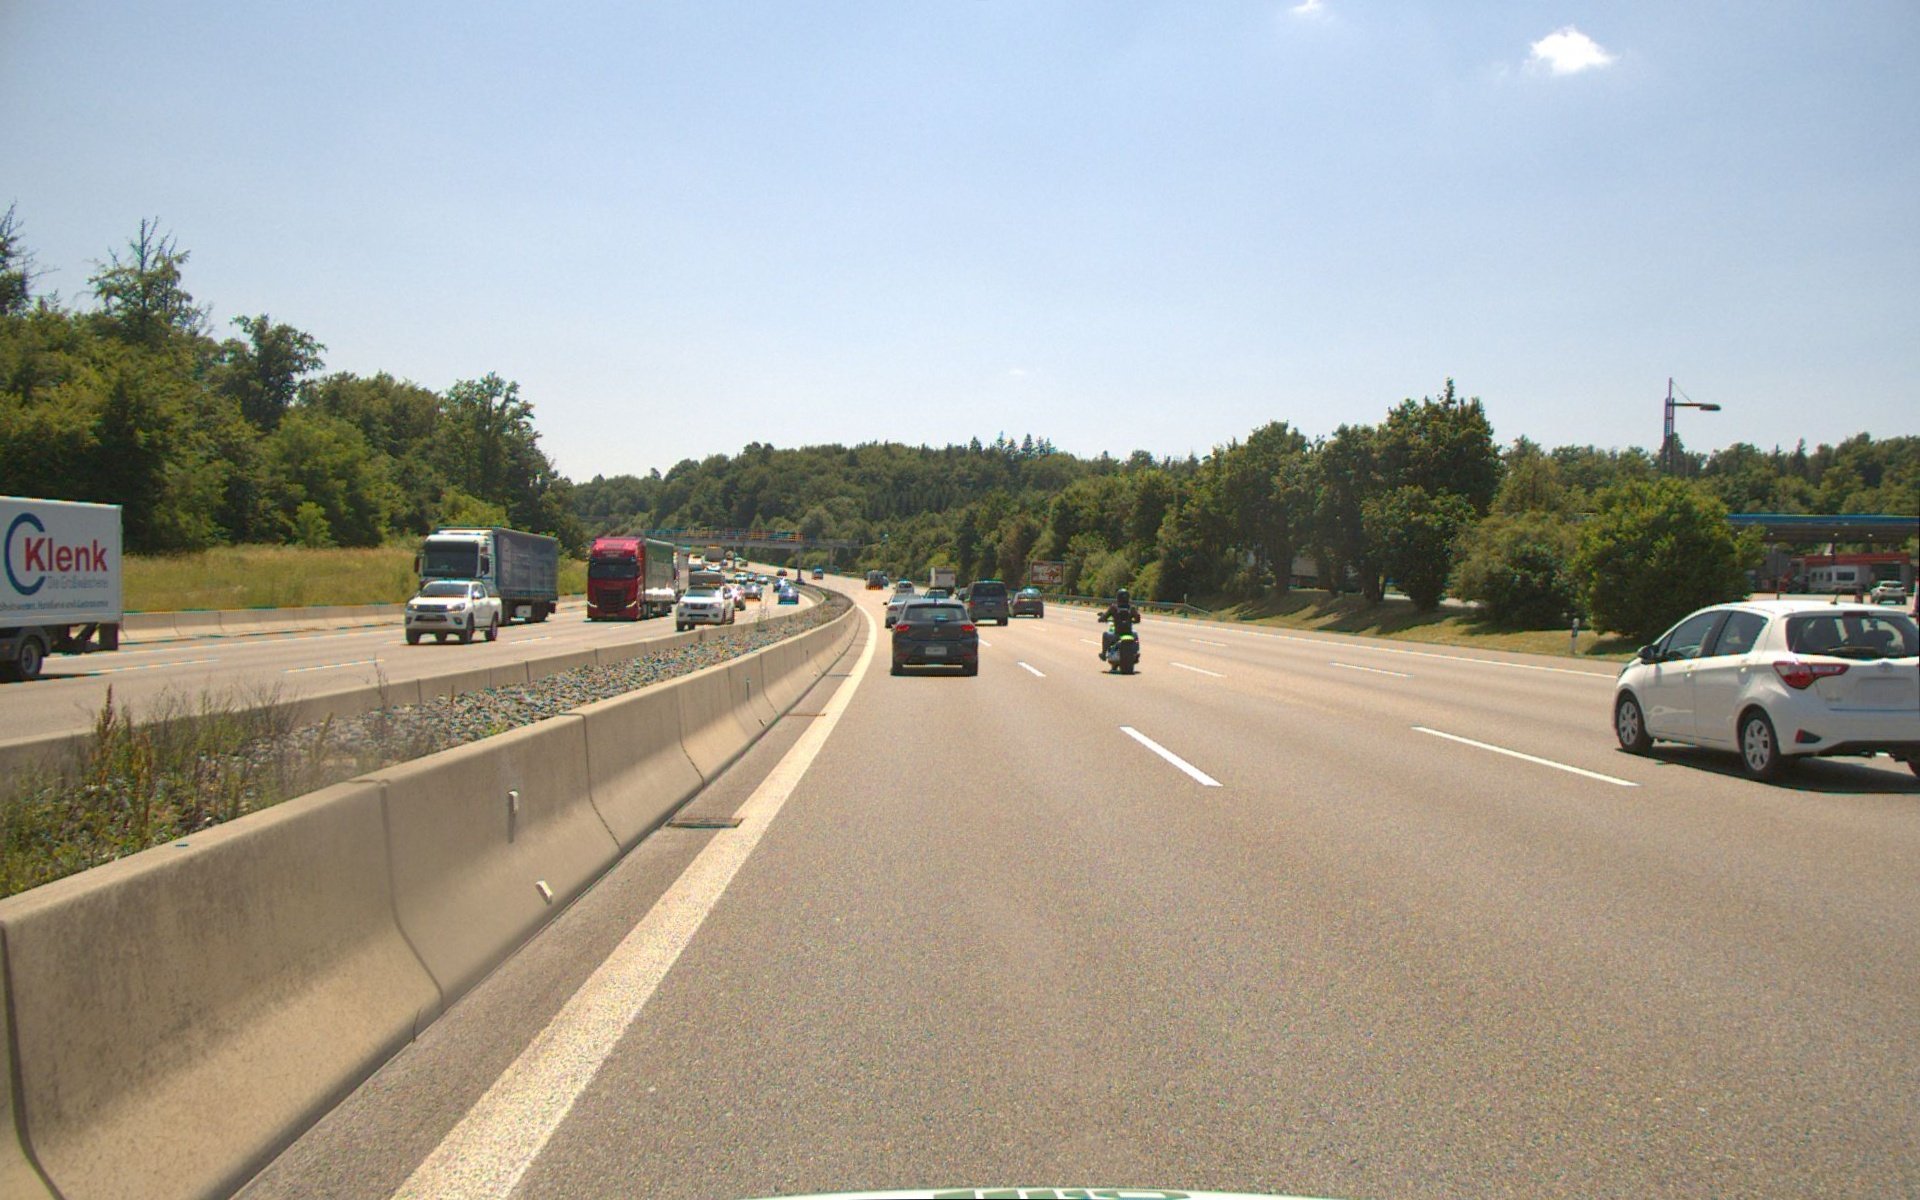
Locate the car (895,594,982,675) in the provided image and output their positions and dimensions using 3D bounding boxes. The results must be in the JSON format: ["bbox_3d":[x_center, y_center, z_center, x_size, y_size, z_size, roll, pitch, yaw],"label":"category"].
[{"bbox_3d":[-0.476,0.646,32.835,1.592,1.513,3.683,1,0,-3],"label":"car"}]

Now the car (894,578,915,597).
[{"bbox_3d":[-5.452,-1.210,161.777,1.954,1.713,4.422,3,1,-3],"label":"car"}]

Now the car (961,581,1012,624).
[{"bbox_3d":[1.198,0.108,76.610,2.055,1.884,4.078,0,0,-3],"label":"car"}]

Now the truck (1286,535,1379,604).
[{"bbox_3d":[28.050,-2.235,125.373,3.259,4.914,14.693,1,0,-2],"label":"truck"}]

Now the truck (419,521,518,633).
[{"bbox_3d":[-20.330,-0.913,68.782,2.451,4.427,6.601,0,0,-3],"label":"truck"}]

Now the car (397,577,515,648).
[{"bbox_3d":[-15.148,0.355,50.064,1.953,2.004,5.735,1,0,-2],"label":"car"}]

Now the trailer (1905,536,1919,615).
[{"bbox_3d":[50.279,-1.288,84.640,3.025,3.967,5.947,1,1,33],"label":"trailer"}]

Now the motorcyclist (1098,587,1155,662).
[{"bbox_3d":[3.307,0.473,32.953,0.943,1.463,1.234,1,0,-3],"label":"motorcyclist"}]

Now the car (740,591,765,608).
[{"bbox_3d":[-19.410,-0.063,155.031,1.984,1.575,4.878,0,0,-3],"label":"car"}]

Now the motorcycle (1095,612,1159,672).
[{"bbox_3d":[3.335,0.828,33.309,0.958,1.149,2.270,1,0,-2],"label":"motorcycle"}]

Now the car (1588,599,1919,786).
[{"bbox_3d":[7.388,0.732,15.206,1.632,1.458,4.376,0,0,1],"label":"car"}]

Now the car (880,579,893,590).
[{"bbox_3d":[-11.378,-2.370,255.901,1.954,1.601,3.998,3,1,-3],"label":"car"}]

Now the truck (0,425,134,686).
[{"bbox_3d":[-16.878,-0.727,26.490,2.479,4.250,9.618,0,0,0],"label":"truck"}]

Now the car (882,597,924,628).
[{"bbox_3d":[-2.479,0.525,71.373,1.747,1.287,3.458,0,0,-3],"label":"car"}]

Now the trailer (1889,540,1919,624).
[{"bbox_3d":[46.501,-0.948,78.798,3.102,3.700,13.583,1,2,33],"label":"trailer"}]

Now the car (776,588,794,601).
[{"bbox_3d":[-21.800,-0.701,205.963,1.947,1.575,4.878,0,0,-3],"label":"car"}]

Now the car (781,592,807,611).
[{"bbox_3d":[-13.993,0.096,139.775,1.954,1.575,4.878,0,0,-3],"label":"car"}]

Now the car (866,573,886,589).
[{"bbox_3d":[-11.777,-2.714,231.272,1.958,2.048,4.661,3,1,-12],"label":"car"}]

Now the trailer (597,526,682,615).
[{"bbox_3d":[-17.220,-1.555,89.931,2.451,4.427,14.295,1,1,-3],"label":"trailer"}]

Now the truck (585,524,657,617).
[{"bbox_3d":[-16.945,-1.464,83.106,2.451,4.427,6.602,1,1,-2],"label":"truck"}]

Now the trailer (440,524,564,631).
[{"bbox_3d":[-20.639,-0.992,75.492,2.451,4.427,13.690,1,0,-3],"label":"trailer"}]

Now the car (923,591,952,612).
[{"bbox_3d":[-1.555,0.078,113.130,1.805,1.243,4.222,3,1,-3],"label":"car"}]

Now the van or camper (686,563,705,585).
[{"bbox_3d":[-37.193,-3.663,232.420,2.271,2.819,7.152,3,2,-8],"label":"van or camper"}]

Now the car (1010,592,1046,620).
[{"bbox_3d":[3.844,0.335,93.682,1.642,1.456,3.682,2,0,-3],"label":"car"}]

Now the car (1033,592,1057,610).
[{"bbox_3d":[6.274,0.070,121.890,1.575,1.234,3.459,1,-1,0],"label":"car"}]

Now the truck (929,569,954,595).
[{"bbox_3d":[-2.153,-2.078,190.583,2.672,2.834,5.680,3,1,-3],"label":"truck"}]

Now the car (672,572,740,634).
[{"bbox_3d":[-9.990,0.088,65.541,1.953,2.329,5.763,1,0,-2],"label":"car"}]
